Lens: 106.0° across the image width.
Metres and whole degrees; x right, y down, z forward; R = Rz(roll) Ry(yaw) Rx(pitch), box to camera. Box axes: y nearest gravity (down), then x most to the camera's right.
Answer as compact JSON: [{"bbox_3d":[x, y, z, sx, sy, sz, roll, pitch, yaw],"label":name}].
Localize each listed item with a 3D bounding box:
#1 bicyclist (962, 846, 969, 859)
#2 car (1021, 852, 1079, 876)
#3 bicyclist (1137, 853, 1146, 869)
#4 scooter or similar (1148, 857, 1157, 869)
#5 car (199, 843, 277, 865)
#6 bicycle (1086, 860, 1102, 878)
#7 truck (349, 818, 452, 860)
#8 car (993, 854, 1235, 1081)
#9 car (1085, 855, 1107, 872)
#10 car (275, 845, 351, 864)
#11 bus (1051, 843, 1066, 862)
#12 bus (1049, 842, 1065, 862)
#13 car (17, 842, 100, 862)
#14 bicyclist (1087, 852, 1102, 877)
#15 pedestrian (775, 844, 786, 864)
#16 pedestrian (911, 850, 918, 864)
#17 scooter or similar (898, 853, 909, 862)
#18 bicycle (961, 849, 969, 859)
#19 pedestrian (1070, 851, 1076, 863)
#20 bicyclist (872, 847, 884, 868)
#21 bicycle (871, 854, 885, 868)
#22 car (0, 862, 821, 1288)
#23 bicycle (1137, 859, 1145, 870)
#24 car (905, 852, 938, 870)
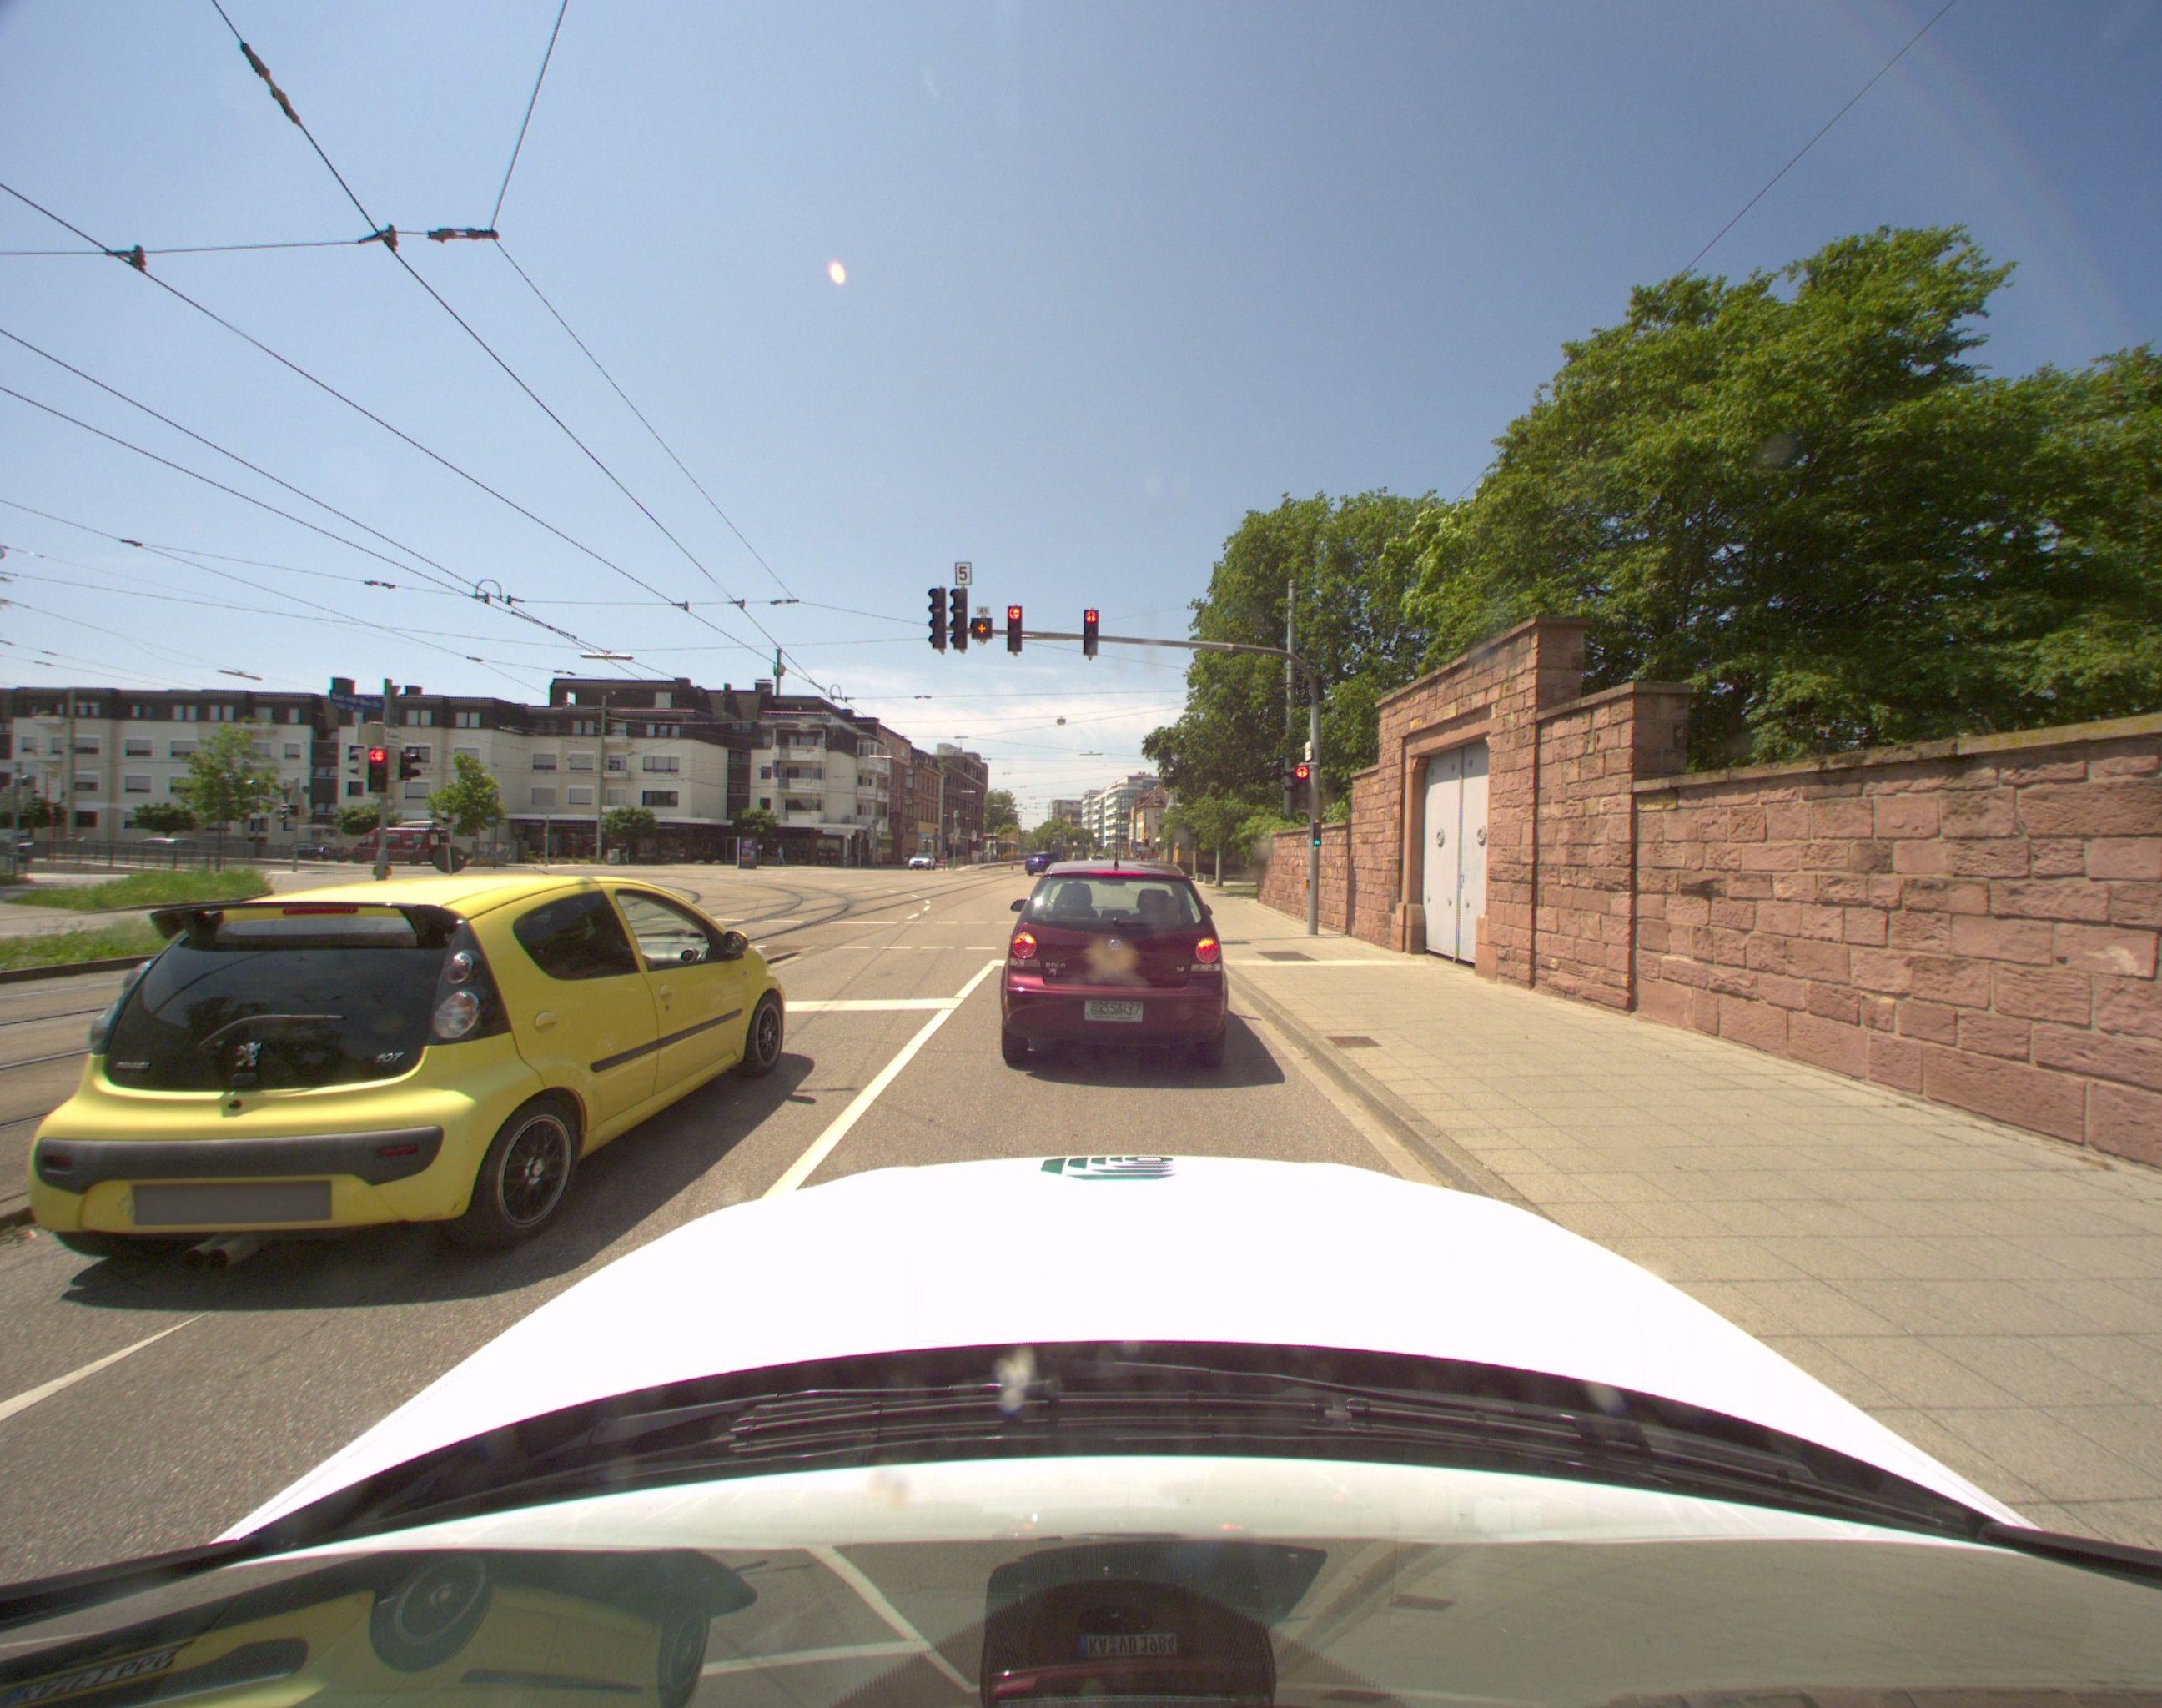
[{"bbox_3d":[-15.661,-0.197,110.336,0.729,1.762,1.135,1,0,1],"label":"bicyclist"},{"bbox_3d":[-2.178,0.713,58.675,1.975,1.624,4.660,1,0,29],"label":"car"},{"bbox_3d":[6.255,0.756,84.434,0.829,1.618,0.860,-3,0,1],"label":"bicyclist"},{"bbox_3d":[7.419,0.944,84.338,0.340,1.178,1.457,1,0,-22],"label":"scooter or similar"},{"bbox_3d":[-56.181,-0.016,54.289,3.556,1.433,1.591,1,0,2],"label":"car"},{"bbox_3d":[0.950,1.070,58.228,0.372,1.197,1.916,1,0,25],"label":"bicycle"},{"bbox_3d":[-45.352,-0.963,54.338,5.007,2.698,2.188,1,0,1],"label":"truck"},{"bbox_3d":[0.239,0.741,6.837,1.556,1.453,3.062,1,0,1],"label":"car"},{"bbox_3d":[1.395,0.836,73.479,1.815,1.530,4.003,1,0,3],"label":"car"},{"bbox_3d":[-51.439,0.052,54.571,3.556,1.219,1.591,1,0,2],"label":"car"},{"bbox_3d":[-3.777,-0.272,138.016,2.226,3.003,6.593,1,0,0],"label":"bus"},{"bbox_3d":[-3.839,-0.319,131.443,2.138,3.003,6.573,1,0,0],"label":"bus"},{"bbox_3d":[-67.814,-0.133,54.035,3.556,1.240,1.591,1,0,2],"label":"car"},{"bbox_3d":[0.961,0.762,58.421,0.721,1.760,0.929,1,0,24],"label":"bicyclist"},{"bbox_3d":[-25.695,0.025,69.585,0.809,1.696,0.695,1,0,-27],"label":"pedestrian"},{"bbox_3d":[-18.374,0.356,89.778,0.612,1.560,0.640,1,0,1],"label":"pedestrian"},{"bbox_3d":[-20.139,0.382,92.461,0.484,1.082,1.584,1,0,18],"label":"scooter or similar"},{"bbox_3d":[-15.664,0.013,110.323,0.674,1.304,2.106,1,1,1],"label":"bicycle"},{"bbox_3d":[-1.099,0.424,112.187,0.760,1.674,1.101,1,0,2],"label":"pedestrian"},{"bbox_3d":[-17.502,0.283,70.328,0.692,1.765,1.137,1,1,1],"label":"bicyclist"},{"bbox_3d":[-17.509,0.586,70.357,0.692,1.149,1.932,1,1,1],"label":"bicycle"},{"bbox_3d":[-2.910,0.780,4.648,1.610,1.421,3.656,-1,-1,1],"label":"car"},{"bbox_3d":[6.235,1.079,84.383,0.666,1.002,1.864,-3,0,2],"label":"bicycle"},{"bbox_3d":[-13.962,0.592,71.586,1.986,1.553,4.141,1,0,2],"label":"car"}]
